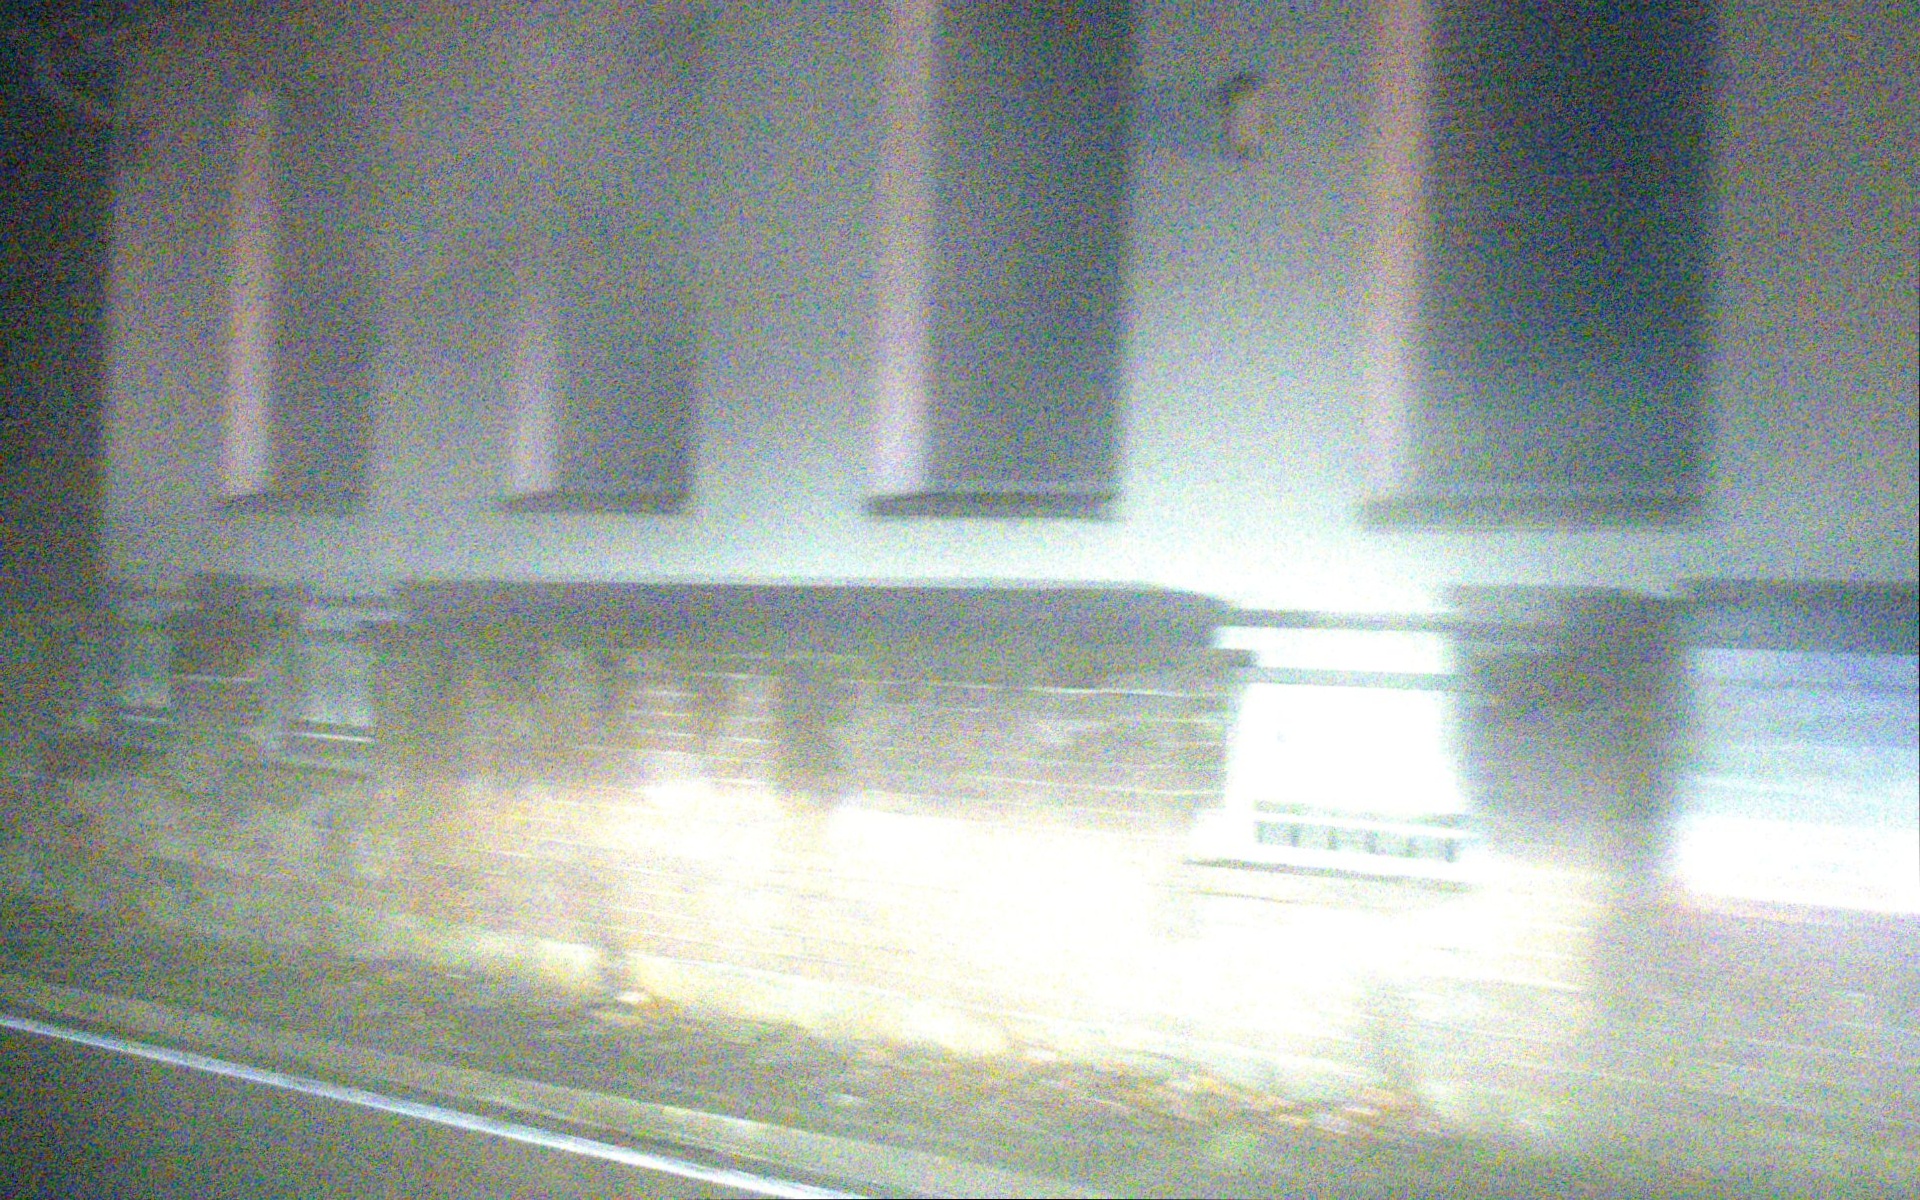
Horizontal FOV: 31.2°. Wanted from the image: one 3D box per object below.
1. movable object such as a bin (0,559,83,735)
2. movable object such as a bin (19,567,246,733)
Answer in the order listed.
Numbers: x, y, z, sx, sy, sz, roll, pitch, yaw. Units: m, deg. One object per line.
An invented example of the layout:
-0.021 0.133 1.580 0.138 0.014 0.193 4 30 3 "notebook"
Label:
-8.187 0.385 28.295 1.388 1.408 1.250 -1 0 20 "movable object such as a bin"
-6.677 0.385 27.782 1.315 1.294 1.250 0 1 20 "movable object such as a bin"
